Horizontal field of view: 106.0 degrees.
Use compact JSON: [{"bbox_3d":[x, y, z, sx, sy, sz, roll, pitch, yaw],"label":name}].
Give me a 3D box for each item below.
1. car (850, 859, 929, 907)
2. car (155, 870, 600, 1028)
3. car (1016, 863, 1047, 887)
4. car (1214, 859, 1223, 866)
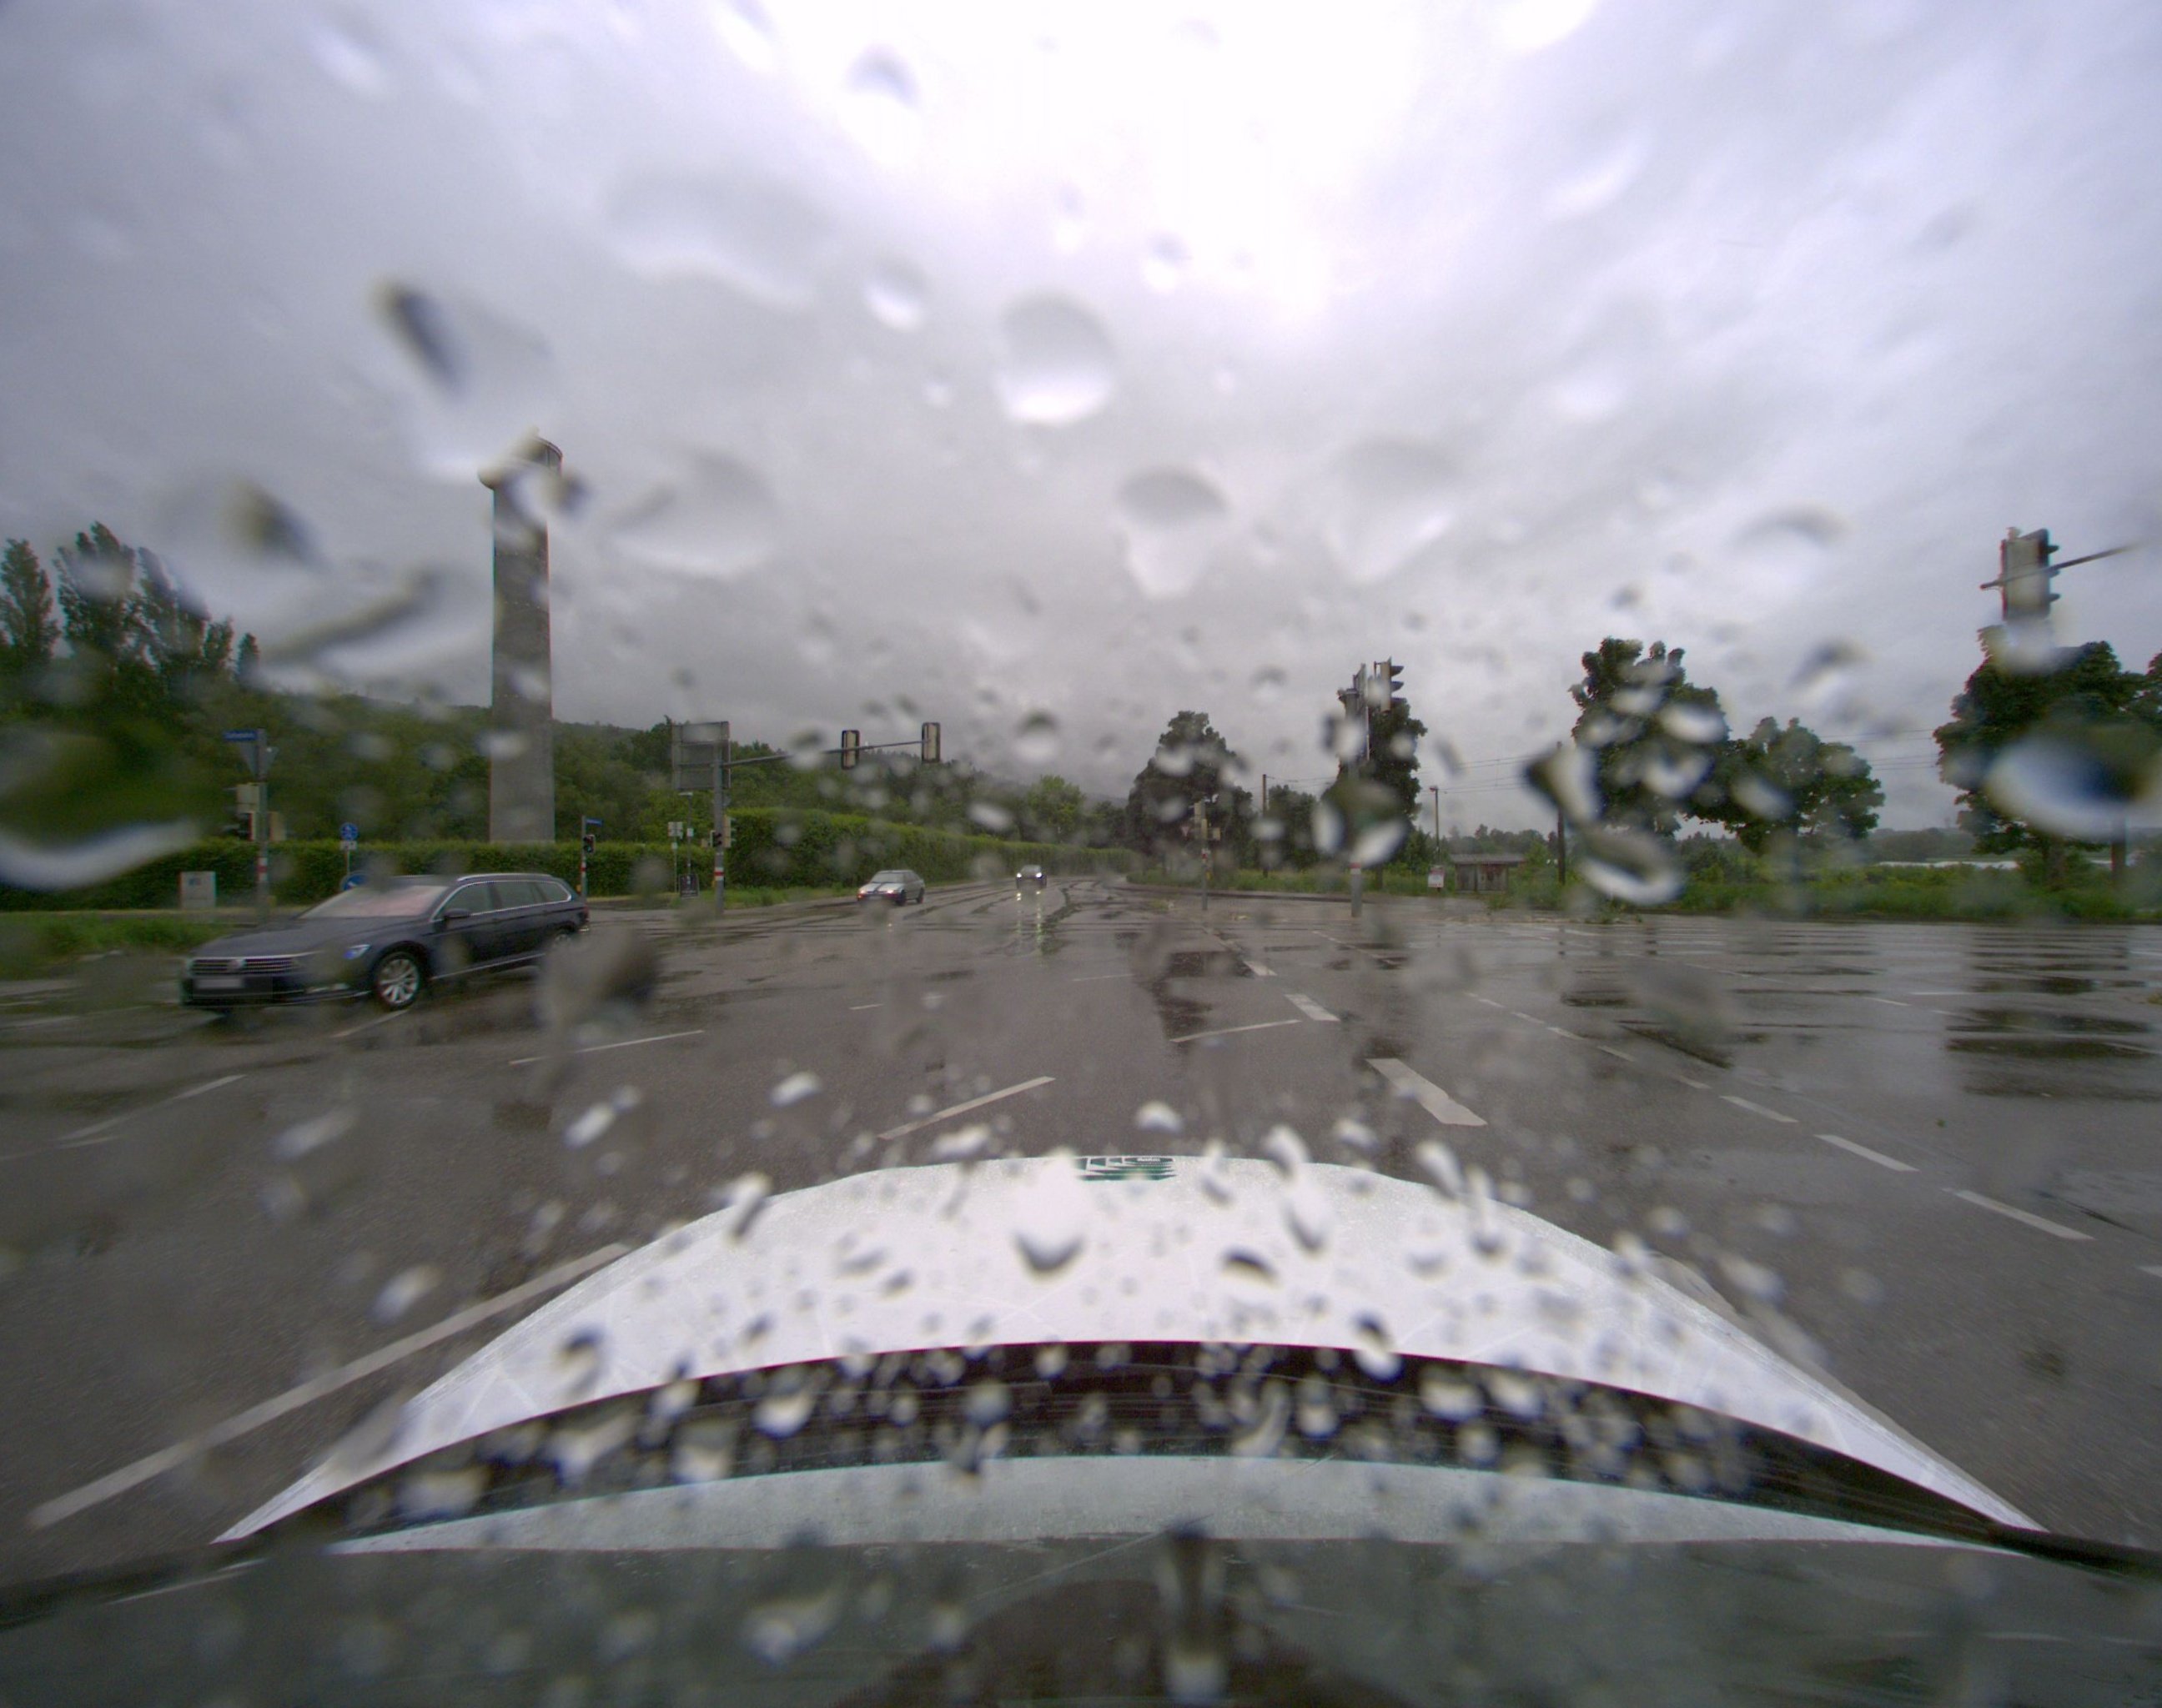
[{"bbox_3d":[-7.514,1.092,32.309,2.029,1.708,4.067,-1,0,2],"label":"car"},{"bbox_3d":[-8.193,0.973,10.193,1.703,1.466,4.451,-1,0,0],"label":"car"},{"bbox_3d":[-3.331,1.386,55.555,1.779,1.505,4.060,-1,0,0],"label":"car"},{"bbox_3d":[39.193,2.406,231.805,1.939,1.904,4.137,-1,0,15],"label":"car"}]
